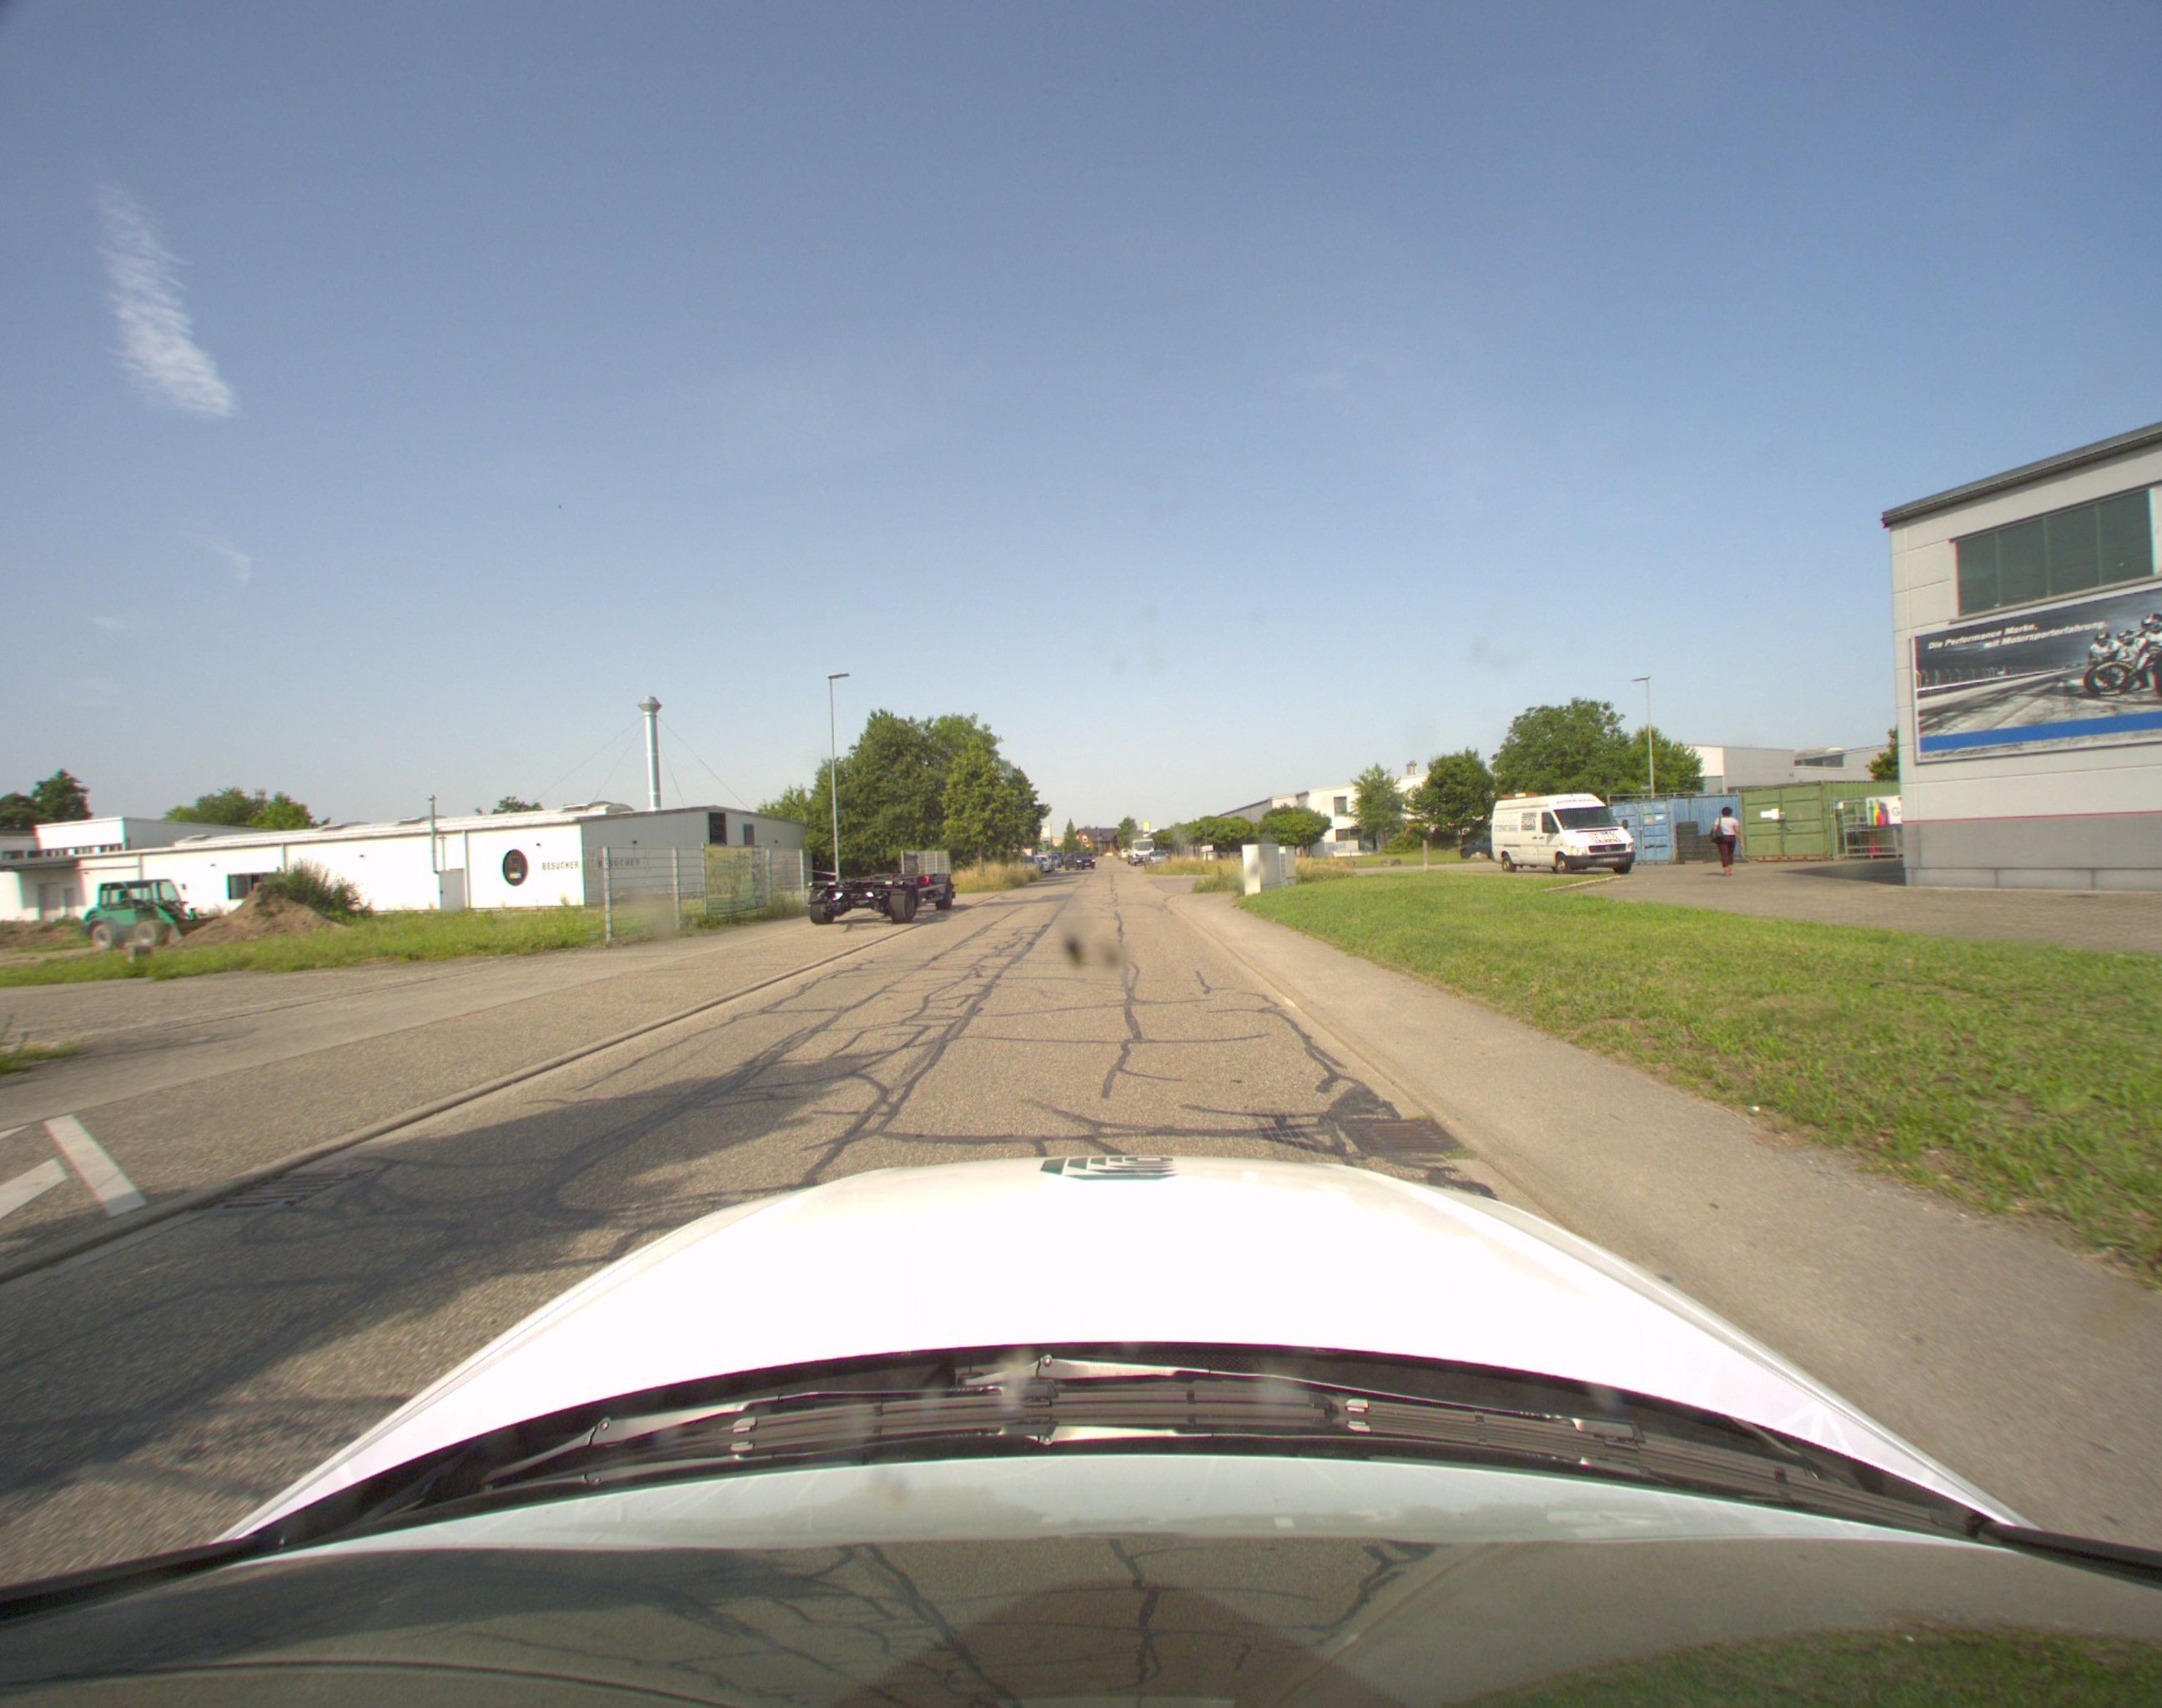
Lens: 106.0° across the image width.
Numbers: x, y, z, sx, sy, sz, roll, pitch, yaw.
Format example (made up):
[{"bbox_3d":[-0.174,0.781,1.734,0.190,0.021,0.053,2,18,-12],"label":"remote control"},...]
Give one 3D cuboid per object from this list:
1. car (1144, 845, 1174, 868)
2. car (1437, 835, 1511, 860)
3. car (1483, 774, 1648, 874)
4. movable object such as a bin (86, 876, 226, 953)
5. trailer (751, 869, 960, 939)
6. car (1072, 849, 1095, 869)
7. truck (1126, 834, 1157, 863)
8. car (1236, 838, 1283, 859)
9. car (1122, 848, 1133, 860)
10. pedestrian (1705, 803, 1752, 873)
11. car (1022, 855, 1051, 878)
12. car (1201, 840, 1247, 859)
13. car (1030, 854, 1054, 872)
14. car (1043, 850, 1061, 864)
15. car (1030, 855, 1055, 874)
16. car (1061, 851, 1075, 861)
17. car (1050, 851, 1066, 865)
[{"bbox_3d":[5.556,0.184,58.666,1.787,1.517,4.425,-3,0,1],"label":"car"},{"bbox_3d":[24.636,-0.371,51.228,1.785,1.409,4.324,-3,0,-16],"label":"car"},{"bbox_3d":[15.093,-0.855,25.876,1.965,2.705,5.887,-3,0,4],"label":"car"},{"bbox_3d":[-33.349,2.164,29.369,4.251,2.456,2.266,-3,0,27],"label":"movable object such as a bin"},{"bbox_3d":[-5.275,1.100,21.241,2.573,1.184,9.366,-1,0,2],"label":"trailer"},{"bbox_3d":[0.269,0.474,76.853,1.848,1.714,4.229,-4,0,3],"label":"car"},{"bbox_3d":[6.032,-0.525,82.199,2.353,2.681,6.506,-3,0,-2],"label":"truck"},{"bbox_3d":[15.504,-0.472,70.537,4.559,1.589,1.667,-3,0,-43],"label":"car"},{"bbox_3d":[8.291,0.043,144.465,1.830,1.923,3.758,-4,0,2],"label":"car"},{"bbox_3d":[15.624,-0.381,19.672,0.696,1.640,0.753,-3,0,28],"label":"pedestrian"},{"bbox_3d":[-3.166,0.863,59.033,1.559,1.538,3.693,-3,0,4],"label":"car"},{"bbox_3d":[11.774,-0.390,66.999,3.716,1.380,1.668,-3,0,-38],"label":"car"},{"bbox_3d":[-3.293,0.740,69.402,1.677,1.469,4.256,-1,0,2],"label":"car"},{"bbox_3d":[-3.236,0.318,91.447,1.626,1.517,3.610,-1,0,4],"label":"car"},{"bbox_3d":[-3.019,0.819,64.244,1.572,1.443,3.967,-1,0,3],"label":"car"},{"bbox_3d":[-1.892,0.261,118.425,1.793,1.386,3.639,-1,0,1],"label":"car"},{"bbox_3d":[-2.971,0.522,105.503,1.793,1.774,4.204,-1,0,1],"label":"car"}]
